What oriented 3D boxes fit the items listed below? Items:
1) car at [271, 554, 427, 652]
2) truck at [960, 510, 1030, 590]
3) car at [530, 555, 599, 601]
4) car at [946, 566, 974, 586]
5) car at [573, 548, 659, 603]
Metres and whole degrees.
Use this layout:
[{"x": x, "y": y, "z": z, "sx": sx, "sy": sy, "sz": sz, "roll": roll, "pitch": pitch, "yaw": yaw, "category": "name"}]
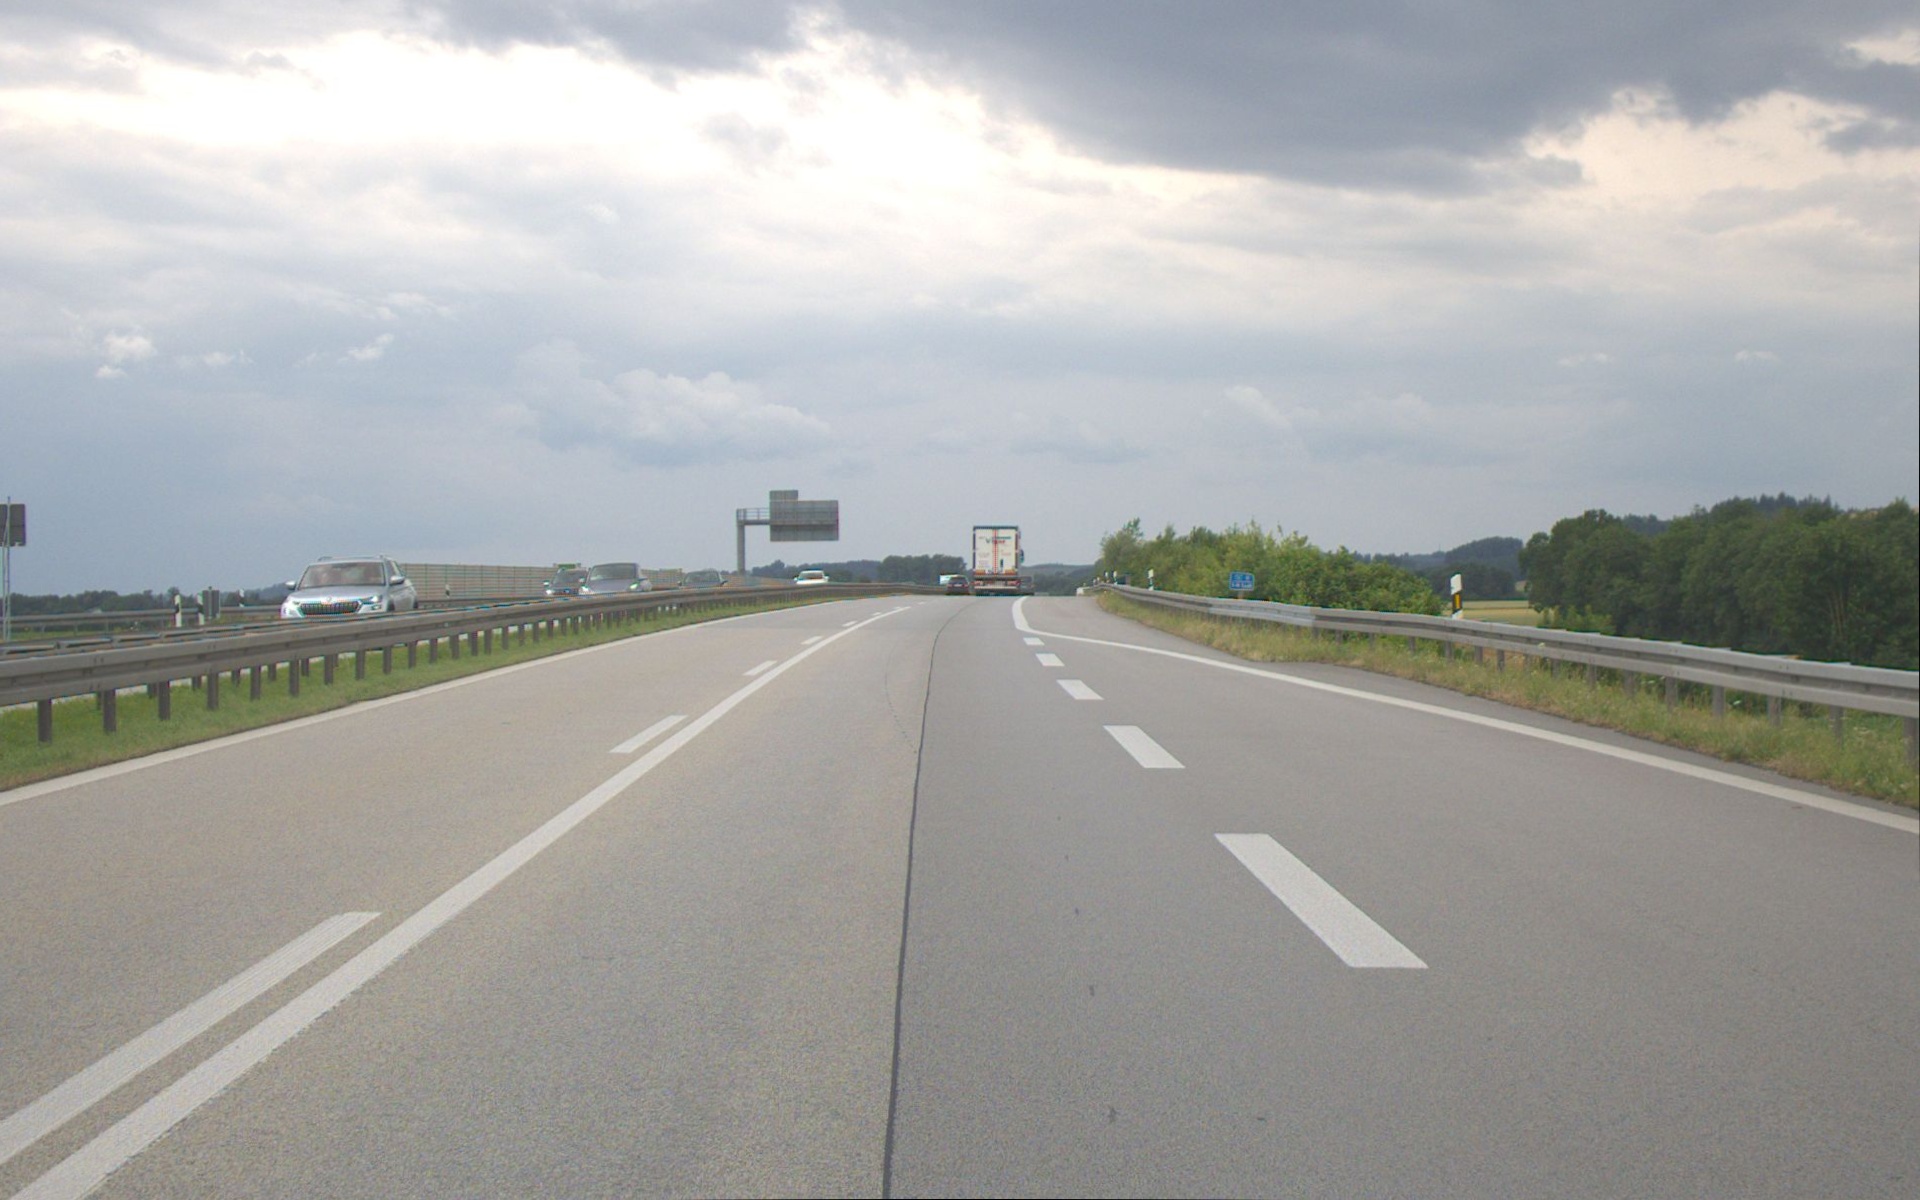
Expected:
[{"x": -10.681, "y": 0.014, "z": 60.388, "sx": 1.891, "sy": 1.582, "sz": 4.762, "roll": -1, "pitch": 1, "yaw": -1, "category": "car"}, {"x": 2.161, "y": -2.891, "z": 205.739, "sx": 3.672, "sy": 4.397, "sz": 16.339, "roll": -1, "pitch": -1, "yaw": 2, "category": "truck"}, {"x": -13.709, "y": -0.764, "z": 119.301, "sx": 1.800, "sy": 1.388, "sz": 4.000, "roll": 6, "pitch": 1, "yaw": 0, "category": "car"}, {"x": 0.018, "y": -1.738, "z": 250.115, "sx": 1.993, "sy": 1.415, "sz": 4.000, "roll": 1, "pitch": 1, "yaw": -1, "category": "car"}, {"x": -10.461, "y": -0.773, "z": 104.887, "sx": 2.135, "sy": 1.582, "sz": 4.999, "roll": -1, "pitch": 1, "yaw": -1, "category": "car"}]
